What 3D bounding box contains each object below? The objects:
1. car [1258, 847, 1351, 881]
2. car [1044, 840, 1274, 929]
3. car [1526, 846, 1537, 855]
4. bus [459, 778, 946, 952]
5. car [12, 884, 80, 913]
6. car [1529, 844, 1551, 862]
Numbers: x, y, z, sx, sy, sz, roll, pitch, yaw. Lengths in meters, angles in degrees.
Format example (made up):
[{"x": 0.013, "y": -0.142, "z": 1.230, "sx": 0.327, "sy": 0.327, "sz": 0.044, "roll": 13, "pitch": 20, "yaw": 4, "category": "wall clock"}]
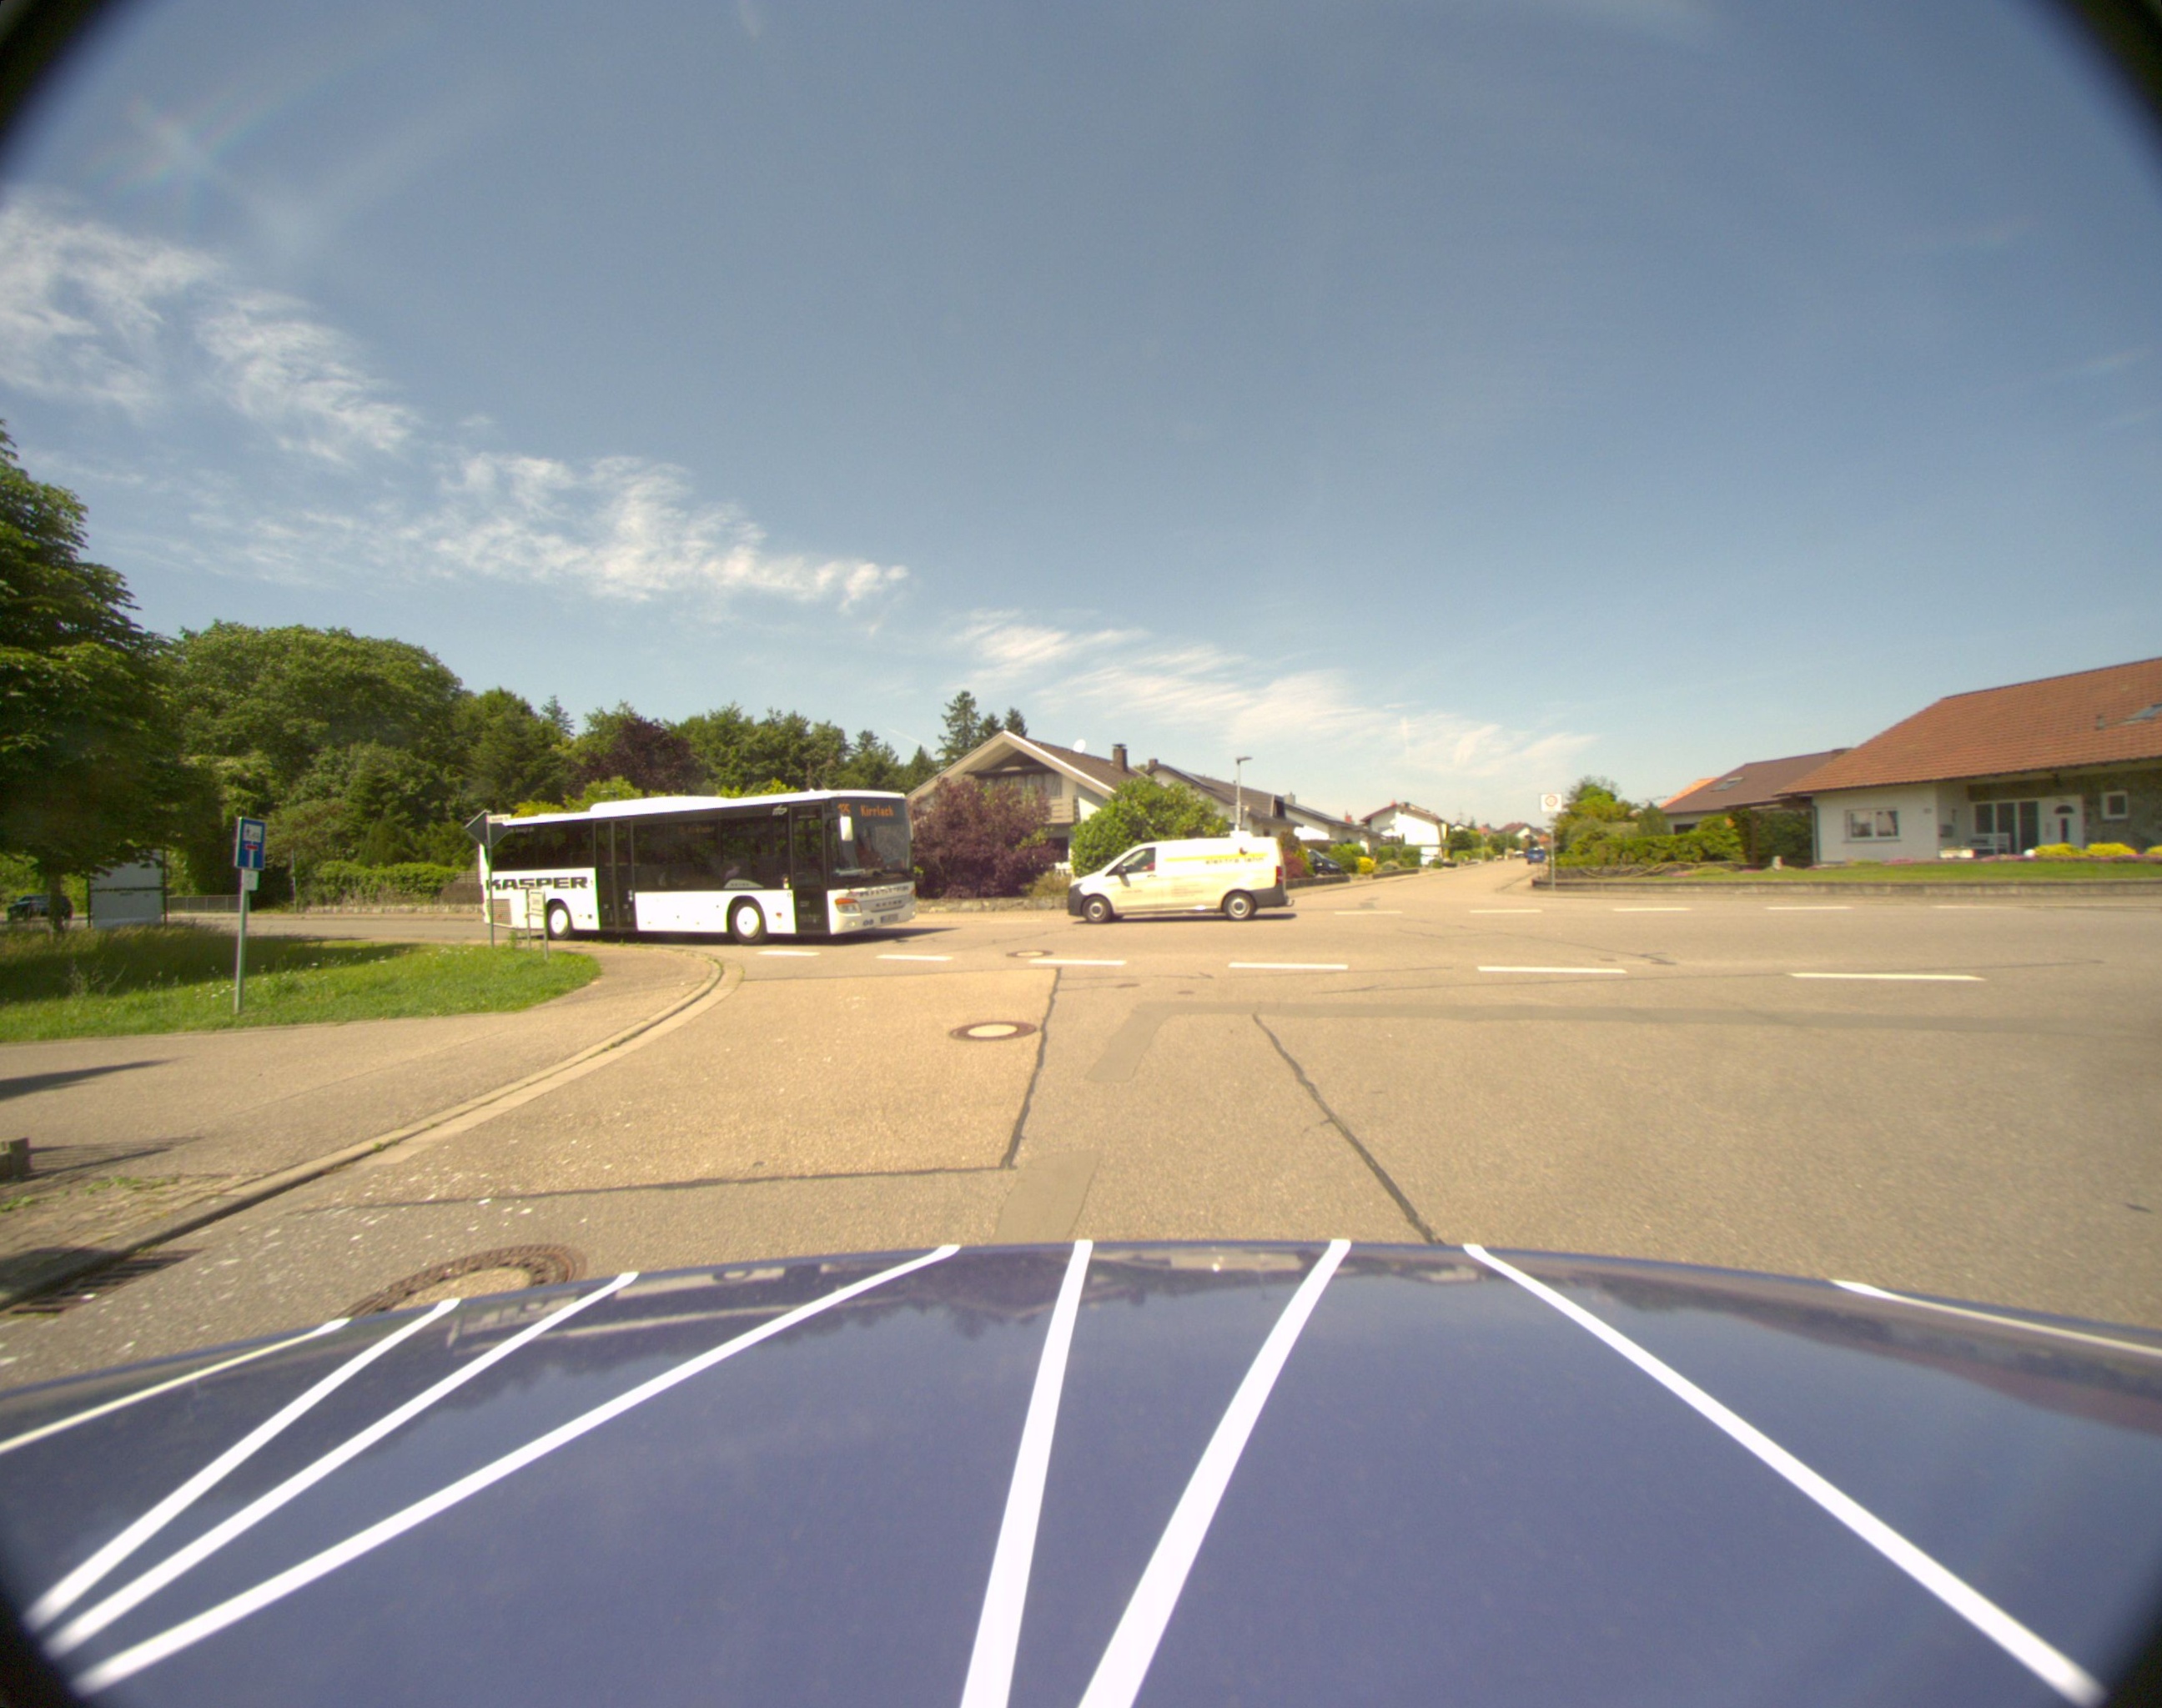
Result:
[{"x": 13.234, "y": 0.598, "z": 44.970, "sx": 4.954, "sy": 1.904, "sz": 1.932, "roll": -2, "pitch": 0, "yaw": 26, "category": "car"}, {"x": 1.888, "y": 0.710, "z": 17.918, "sx": 5.058, "sy": 1.845, "sz": 2.022, "roll": -2, "pitch": 0, "yaw": 16, "category": "car"}, {"x": 97.464, "y": -0.793, "z": 164.261, "sx": 1.871, "sy": 1.914, "sz": 4.007, "roll": -2, "pitch": 0, "yaw": 29, "category": "car"}, {"x": -9.491, "y": 0.409, "z": 18.237, "sx": 12.681, "sy": 3.225, "sz": 3.197, "roll": -2, "pitch": 0, "yaw": 25, "category": "bus"}, {"x": -63.323, "y": 2.710, "z": 46.484, "sx": 3.990, "sy": 1.608, "sz": 1.771, "roll": -3, "pitch": -2, "yaw": 26, "category": "car"}, {"x": 50.246, "y": -0.146, "z": 83.192, "sx": 1.823, "sy": 1.870, "sz": 4.008, "roll": -2, "pitch": 0, "yaw": 34, "category": "car"}]
